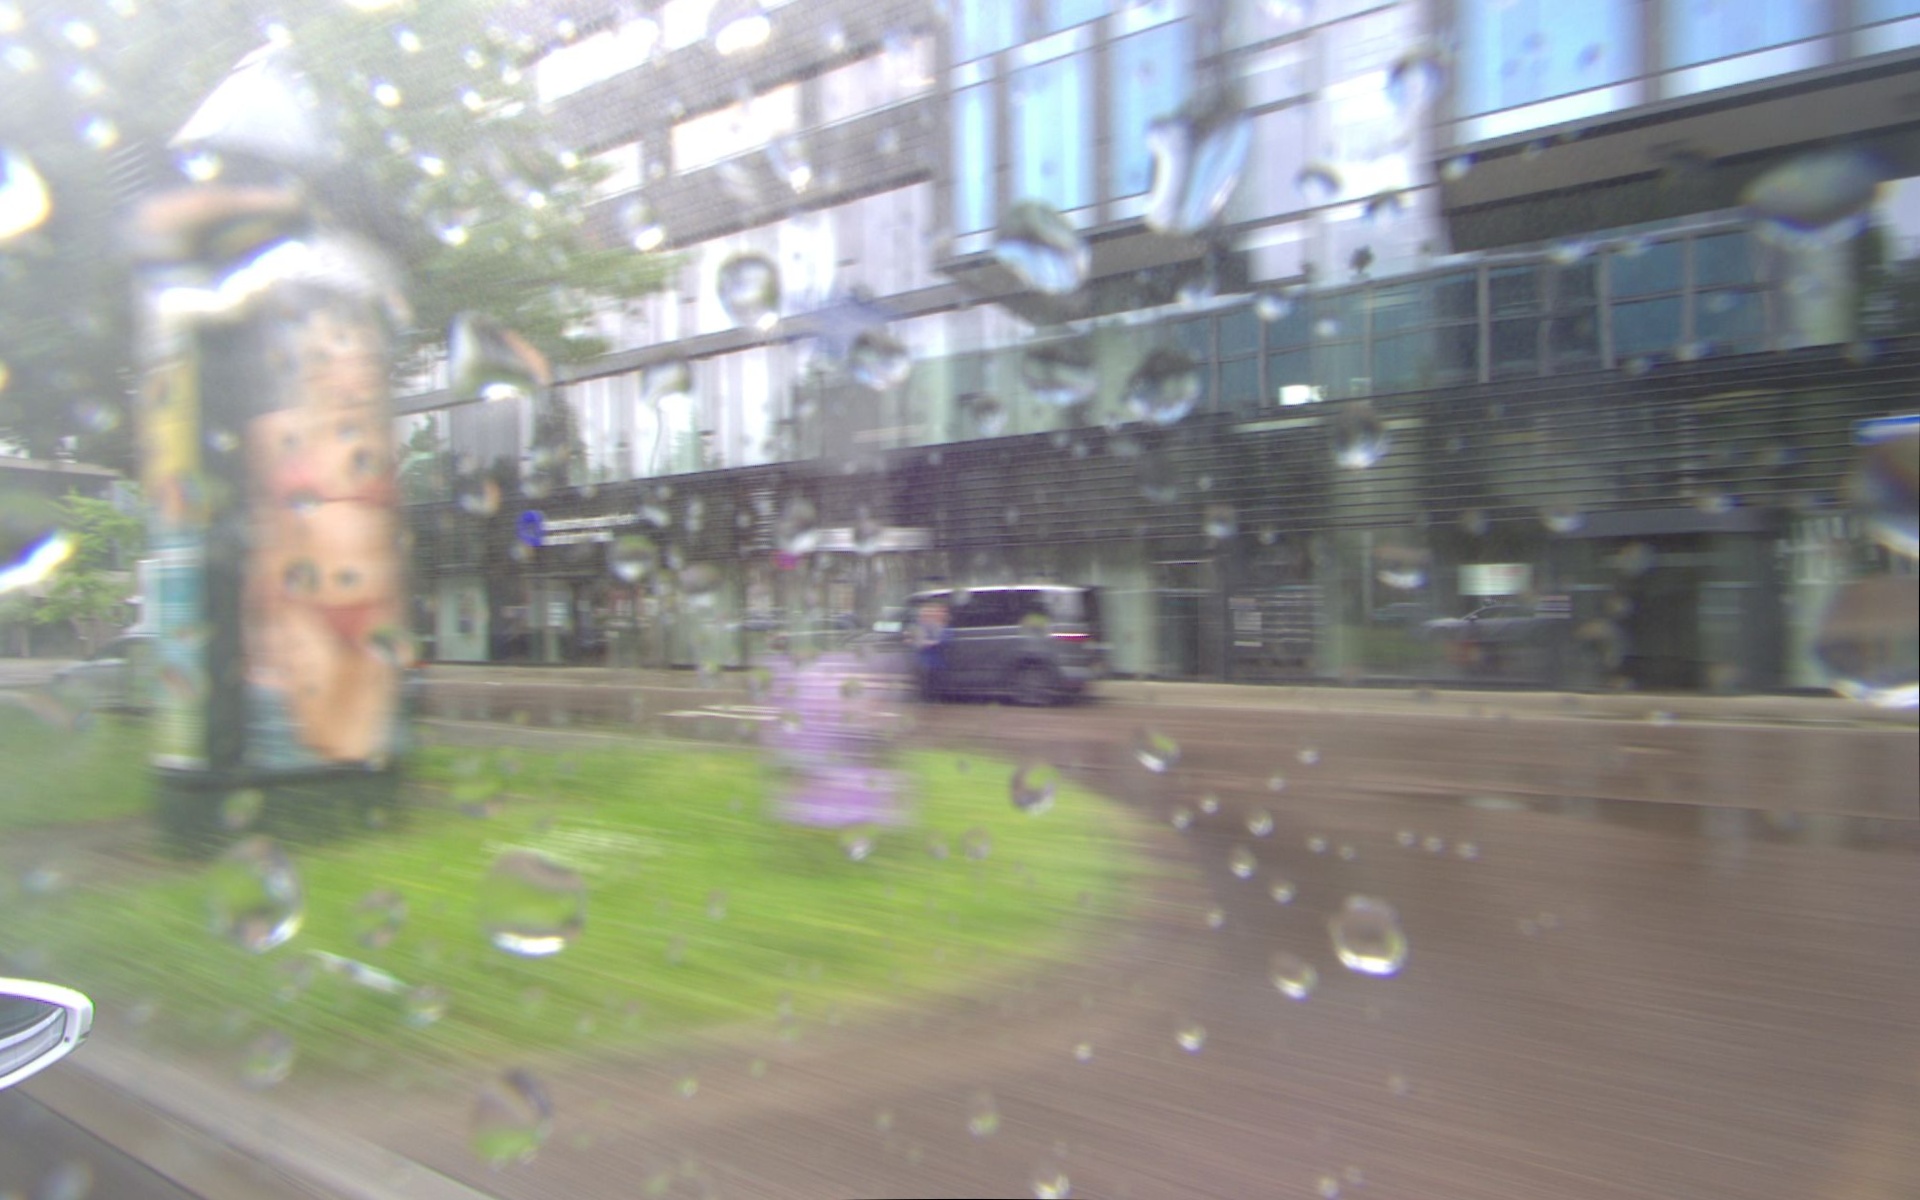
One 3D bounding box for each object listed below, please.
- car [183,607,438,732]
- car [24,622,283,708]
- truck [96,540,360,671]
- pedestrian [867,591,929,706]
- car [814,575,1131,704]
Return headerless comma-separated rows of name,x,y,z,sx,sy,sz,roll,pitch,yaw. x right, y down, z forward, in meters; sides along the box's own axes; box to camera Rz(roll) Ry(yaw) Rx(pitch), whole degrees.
car,-10.201,0.974,15.678,4.038,1.618,1.758,2,1,31
car,-15.548,1.172,19.263,5.155,1.463,1.992,-1,-1,28
truck,-22.093,0.218,30.130,8.414,3.486,3.022,-1,0,28
pedestrian,-0.994,0.760,16.151,0.790,1.765,0.579,2,6,28
car,0.169,0.629,17.080,5.069,1.945,1.992,-1,0,28
